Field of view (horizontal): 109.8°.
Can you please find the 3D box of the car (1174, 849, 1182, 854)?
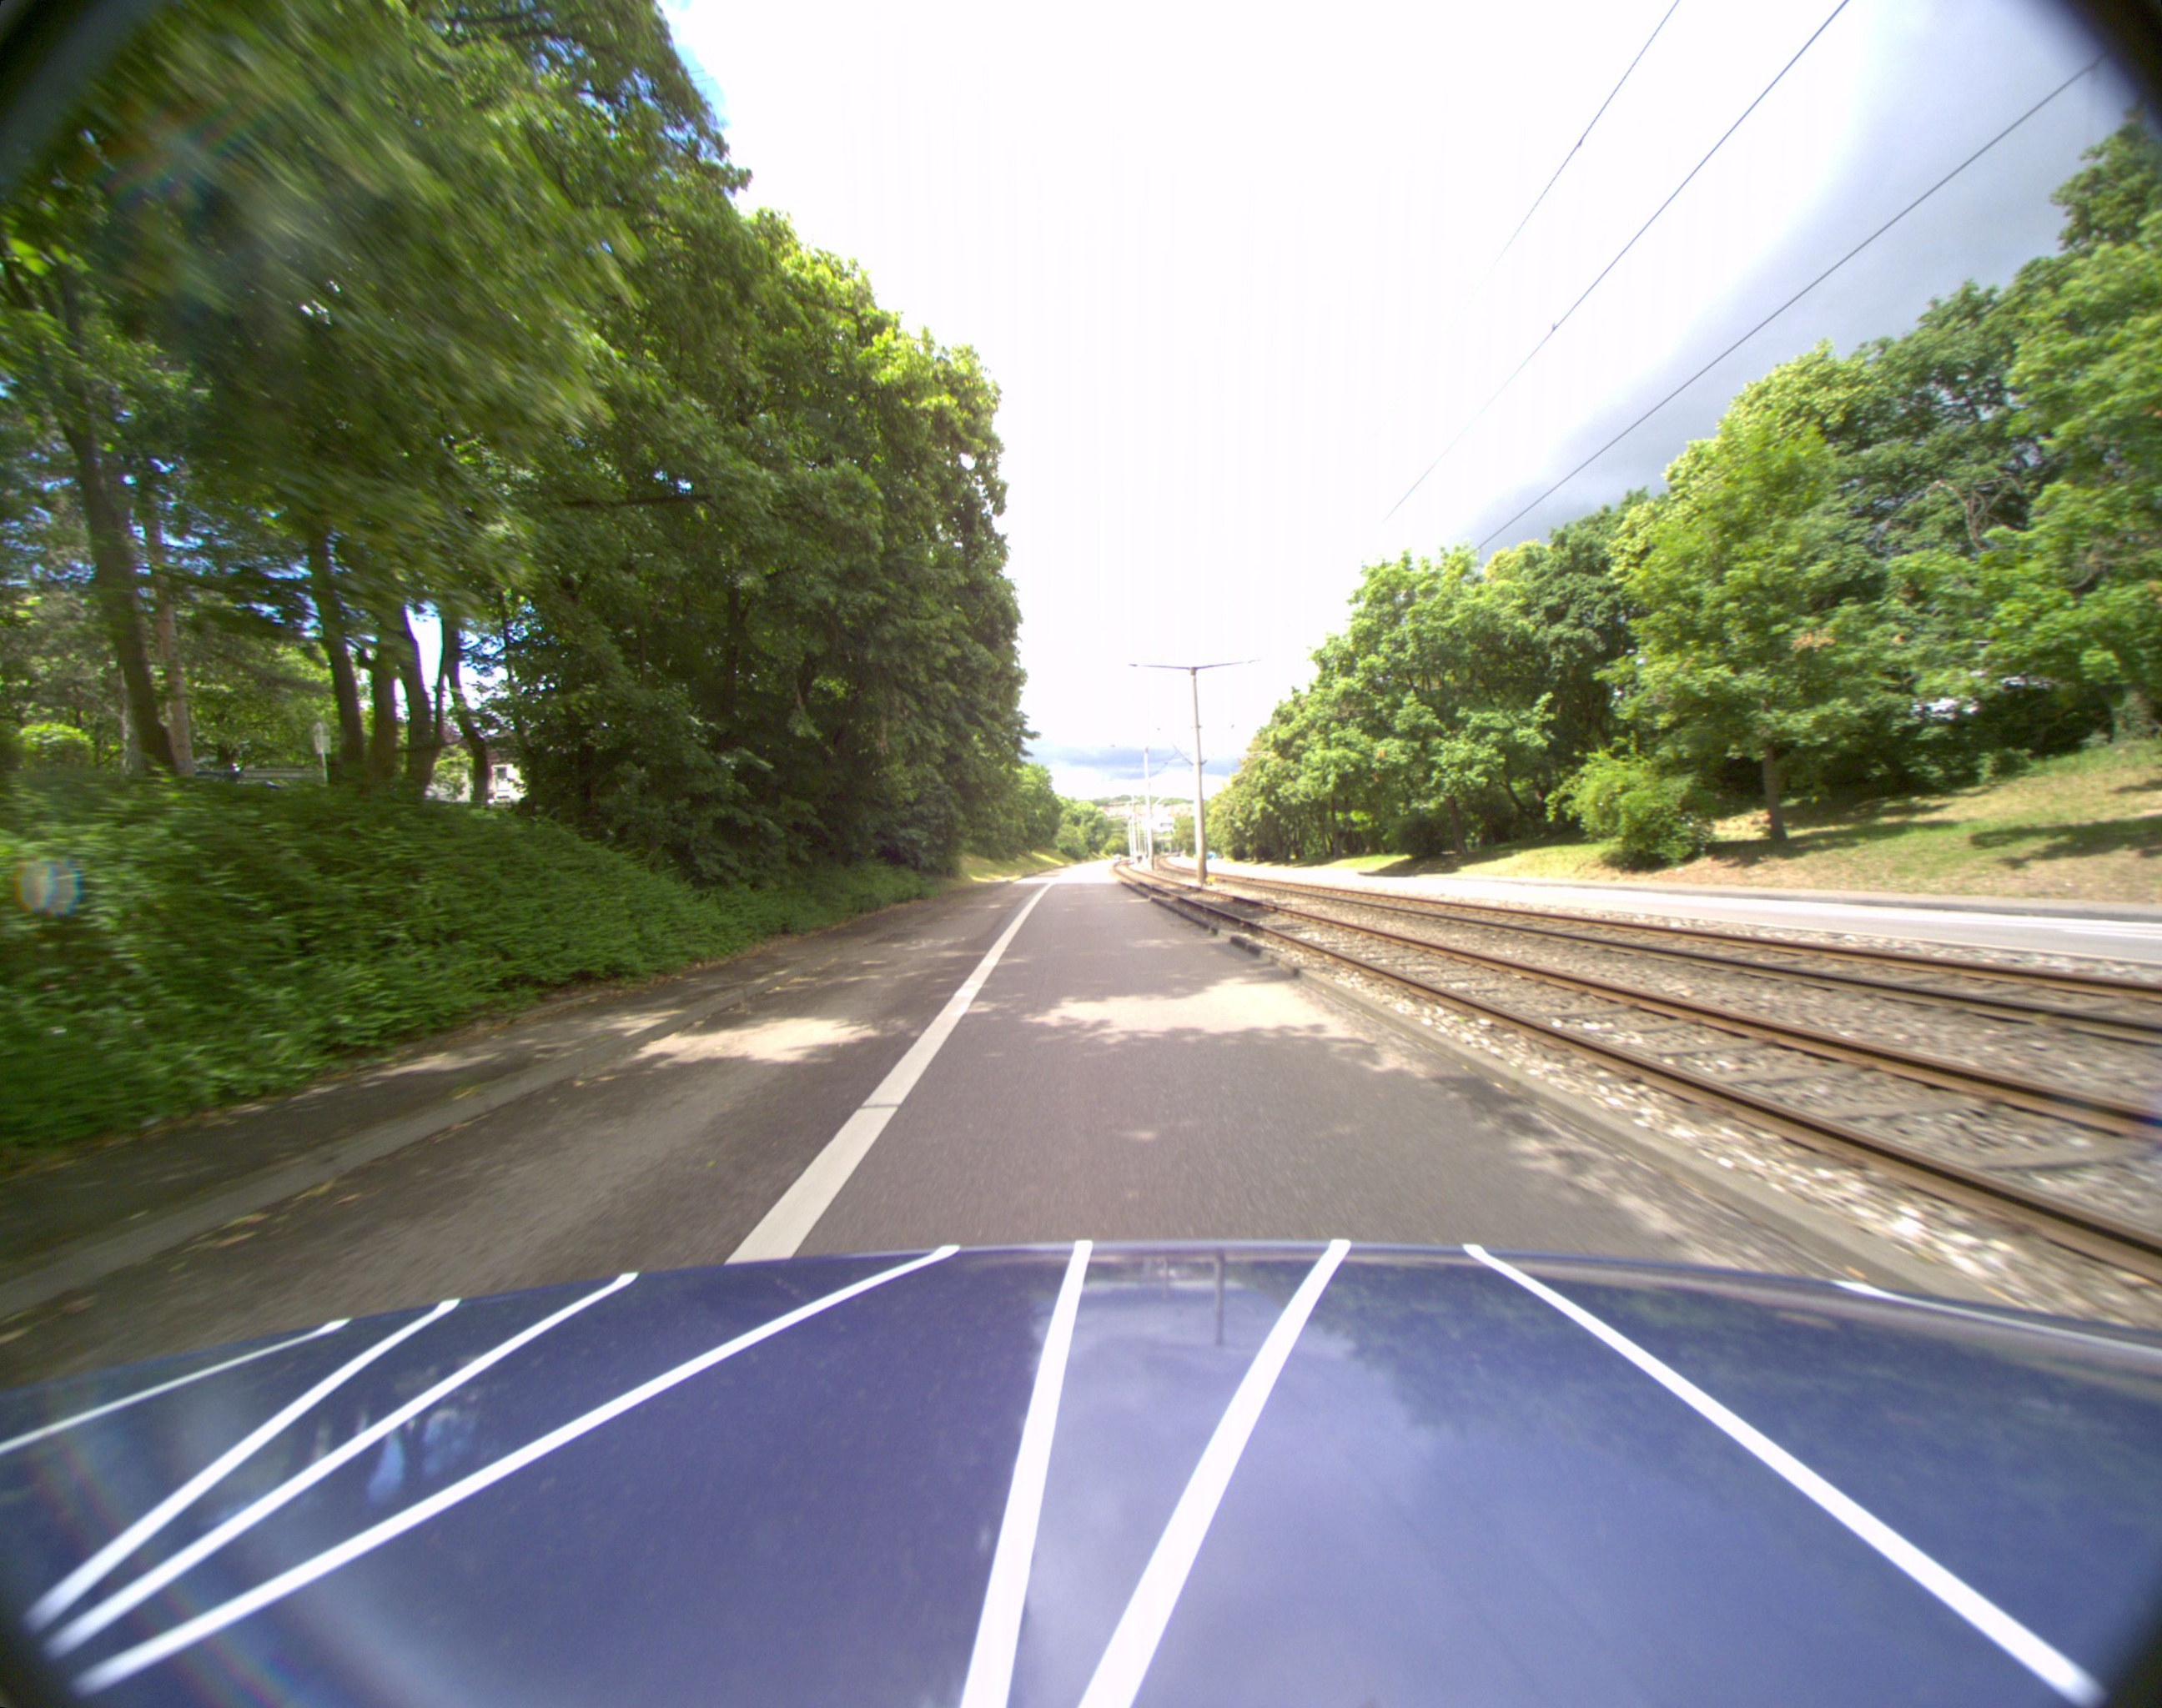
[{"bbox_3d":[26.531,-0.784,207.031,1.840,1.383,4.863,0,0,4],"label":"car"}]
